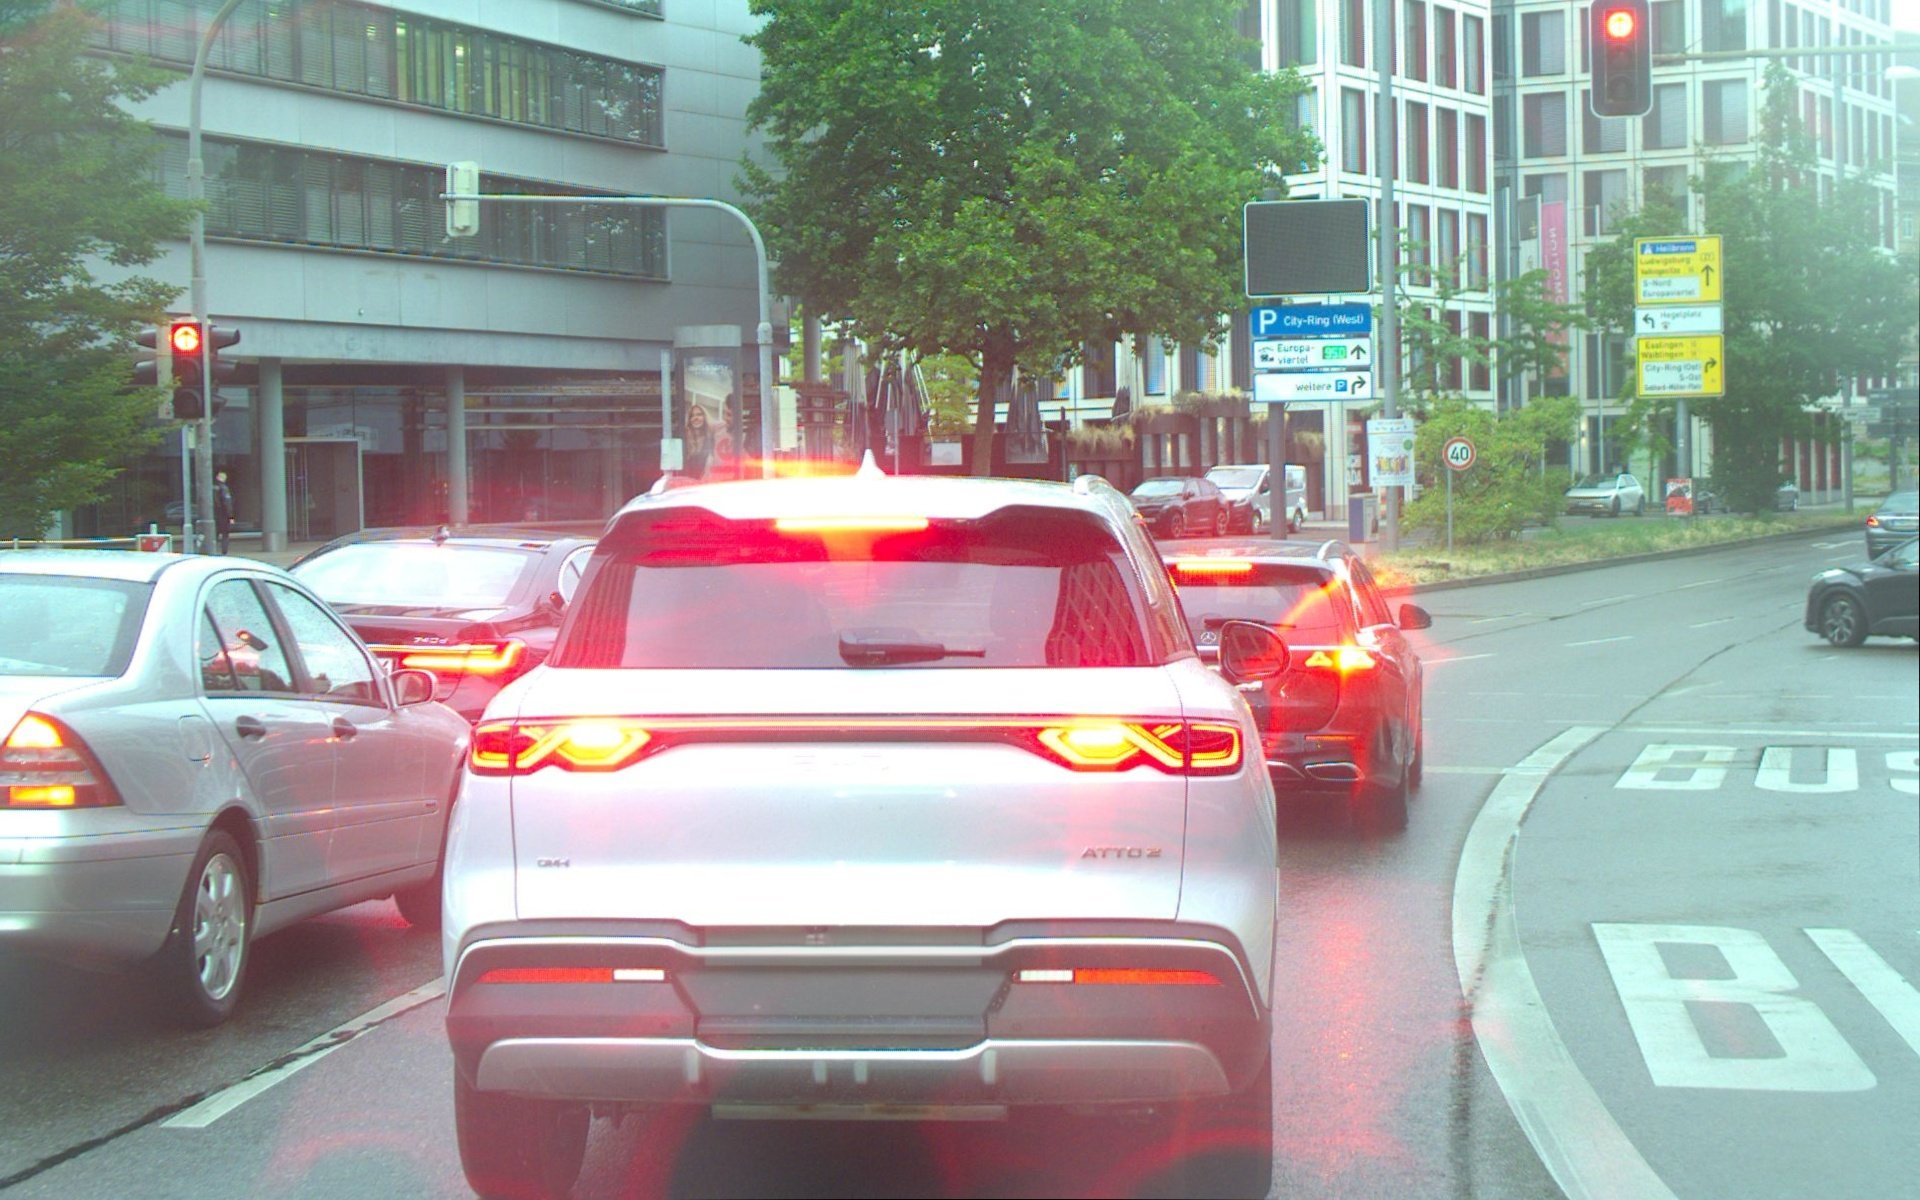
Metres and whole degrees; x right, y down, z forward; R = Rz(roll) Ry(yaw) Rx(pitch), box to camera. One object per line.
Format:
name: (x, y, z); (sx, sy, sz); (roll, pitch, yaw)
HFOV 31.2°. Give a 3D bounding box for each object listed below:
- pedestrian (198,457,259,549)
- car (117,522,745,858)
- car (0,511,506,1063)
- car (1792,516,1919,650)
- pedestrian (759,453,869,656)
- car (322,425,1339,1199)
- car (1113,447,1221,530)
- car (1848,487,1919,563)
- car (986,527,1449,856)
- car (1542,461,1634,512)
pedestrian: (-13.867, -1.828, 65.151); (0.728, 1.721, 0.924); (0, 1, 22)
car: (-2.592, 0.365, 17.903); (1.956, 1.525, 3.998); (0, 1, 12)
car: (-2.915, 0.454, 11.466); (1.683, 1.481, 4.195); (0, 2, 8)
car: (12.169, -0.192, 40.954); (1.994, 1.546, 3.999); (-1, 2, -37)
pedestrian: (-1.273, -0.402, 29.785); (0.921, 1.732, 0.730); (0, 1, -4)
car: (-0.217, 0.452, 9.009); (1.993, 1.703, 4.483); (0, 2, 1)
car: (5.616, -2.988, 92.776); (1.739, 2.154, 4.490); (1, 1, 19)
car: (19.625, -1.544, 70.497); (1.913, 1.505, 4.351); (2, 2, 25)
car: (1.490, 0.385, 18.326); (1.956, 1.525, 3.998); (0, 1, 12)
car: (22.219, -4.045, 121.569); (1.997, 1.700, 4.303); (1, 3, 28)
